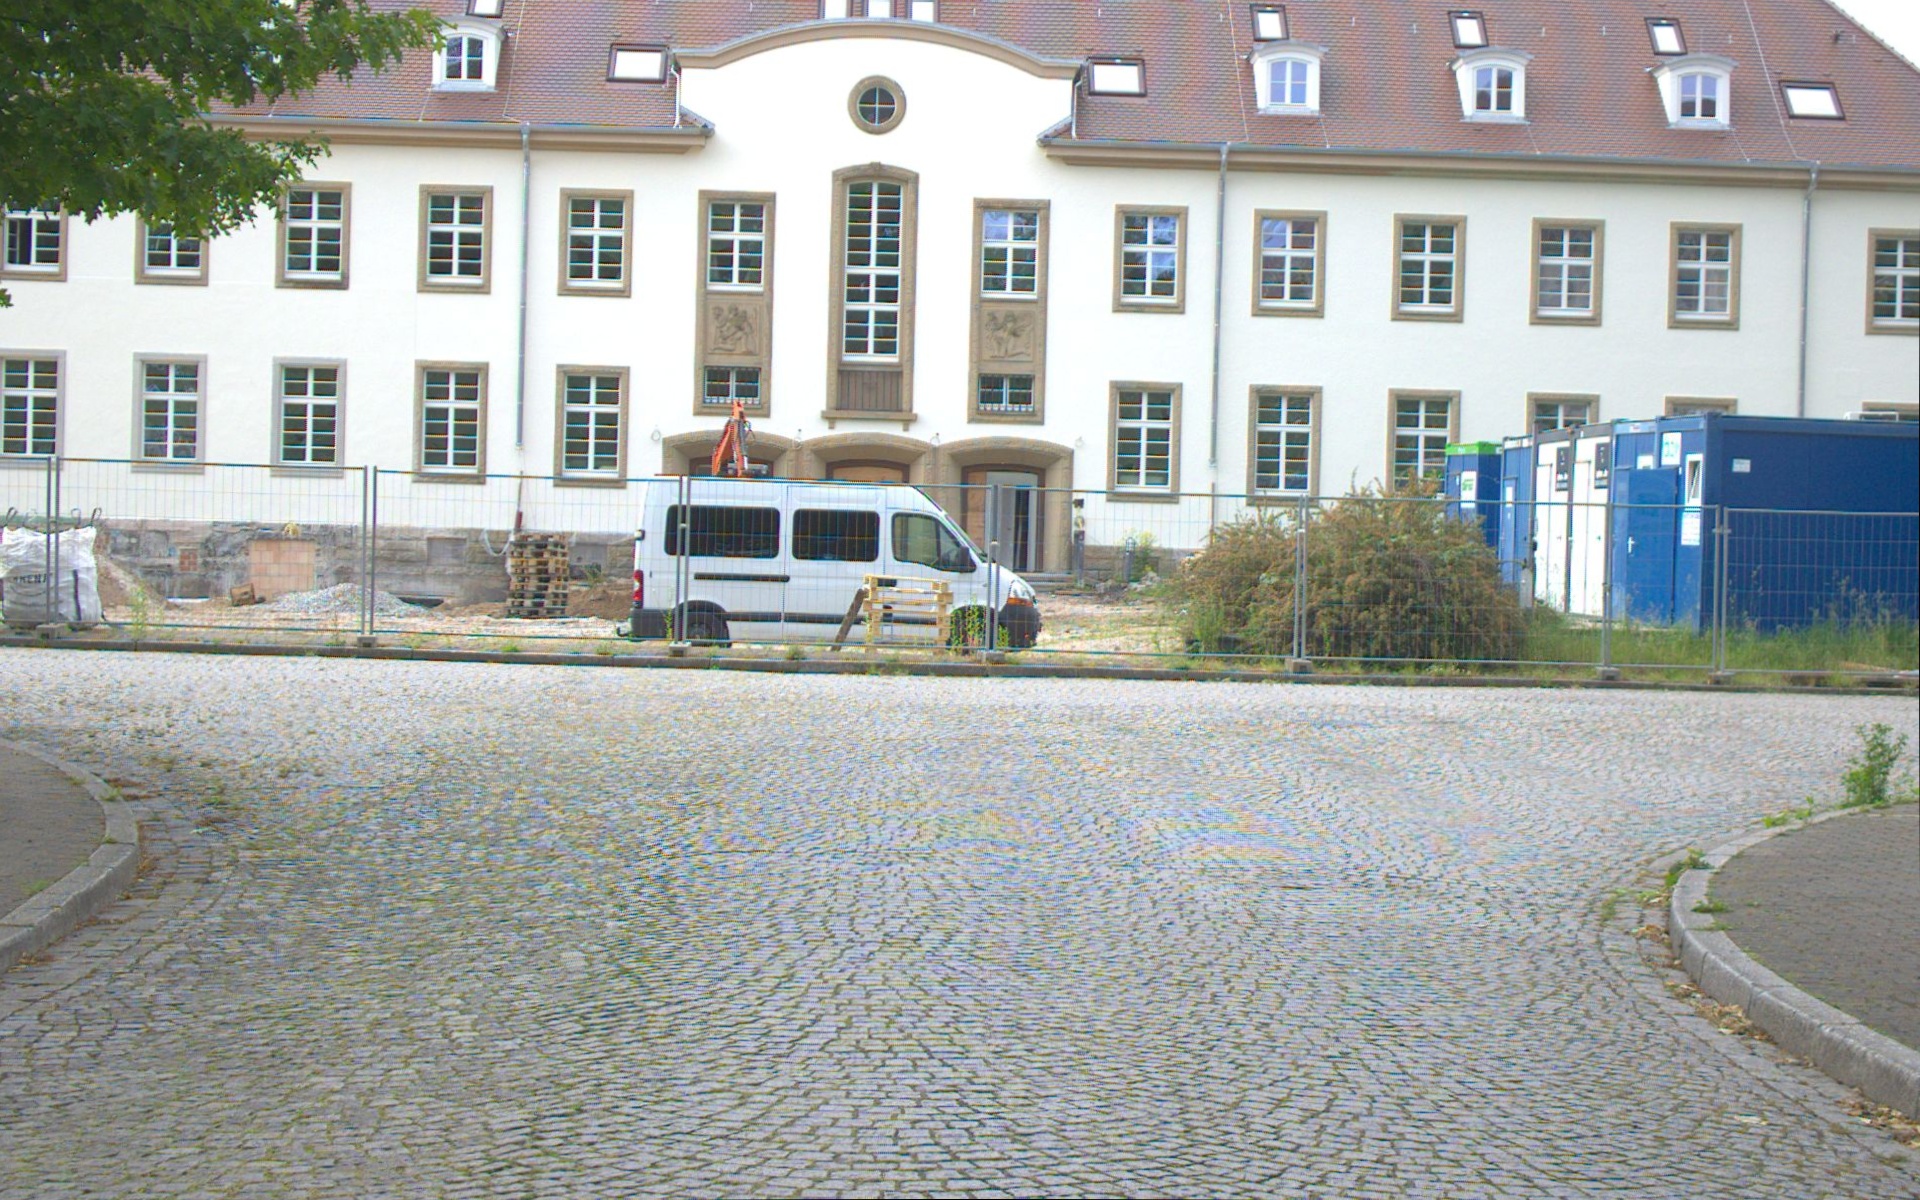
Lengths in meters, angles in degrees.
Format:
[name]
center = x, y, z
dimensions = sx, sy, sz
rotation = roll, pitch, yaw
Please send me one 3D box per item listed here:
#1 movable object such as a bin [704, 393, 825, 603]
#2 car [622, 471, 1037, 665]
[movable object such as a bin]
center = -3.762, -1.915, 65.344
dimensions = 1.993, 3.758, 5.319
rotation = 2, 1, -5
[car]
center = -1.681, -0.428, 45.032
dimensions = 5.262, 2.336, 1.910
rotation = 2, 1, 0
